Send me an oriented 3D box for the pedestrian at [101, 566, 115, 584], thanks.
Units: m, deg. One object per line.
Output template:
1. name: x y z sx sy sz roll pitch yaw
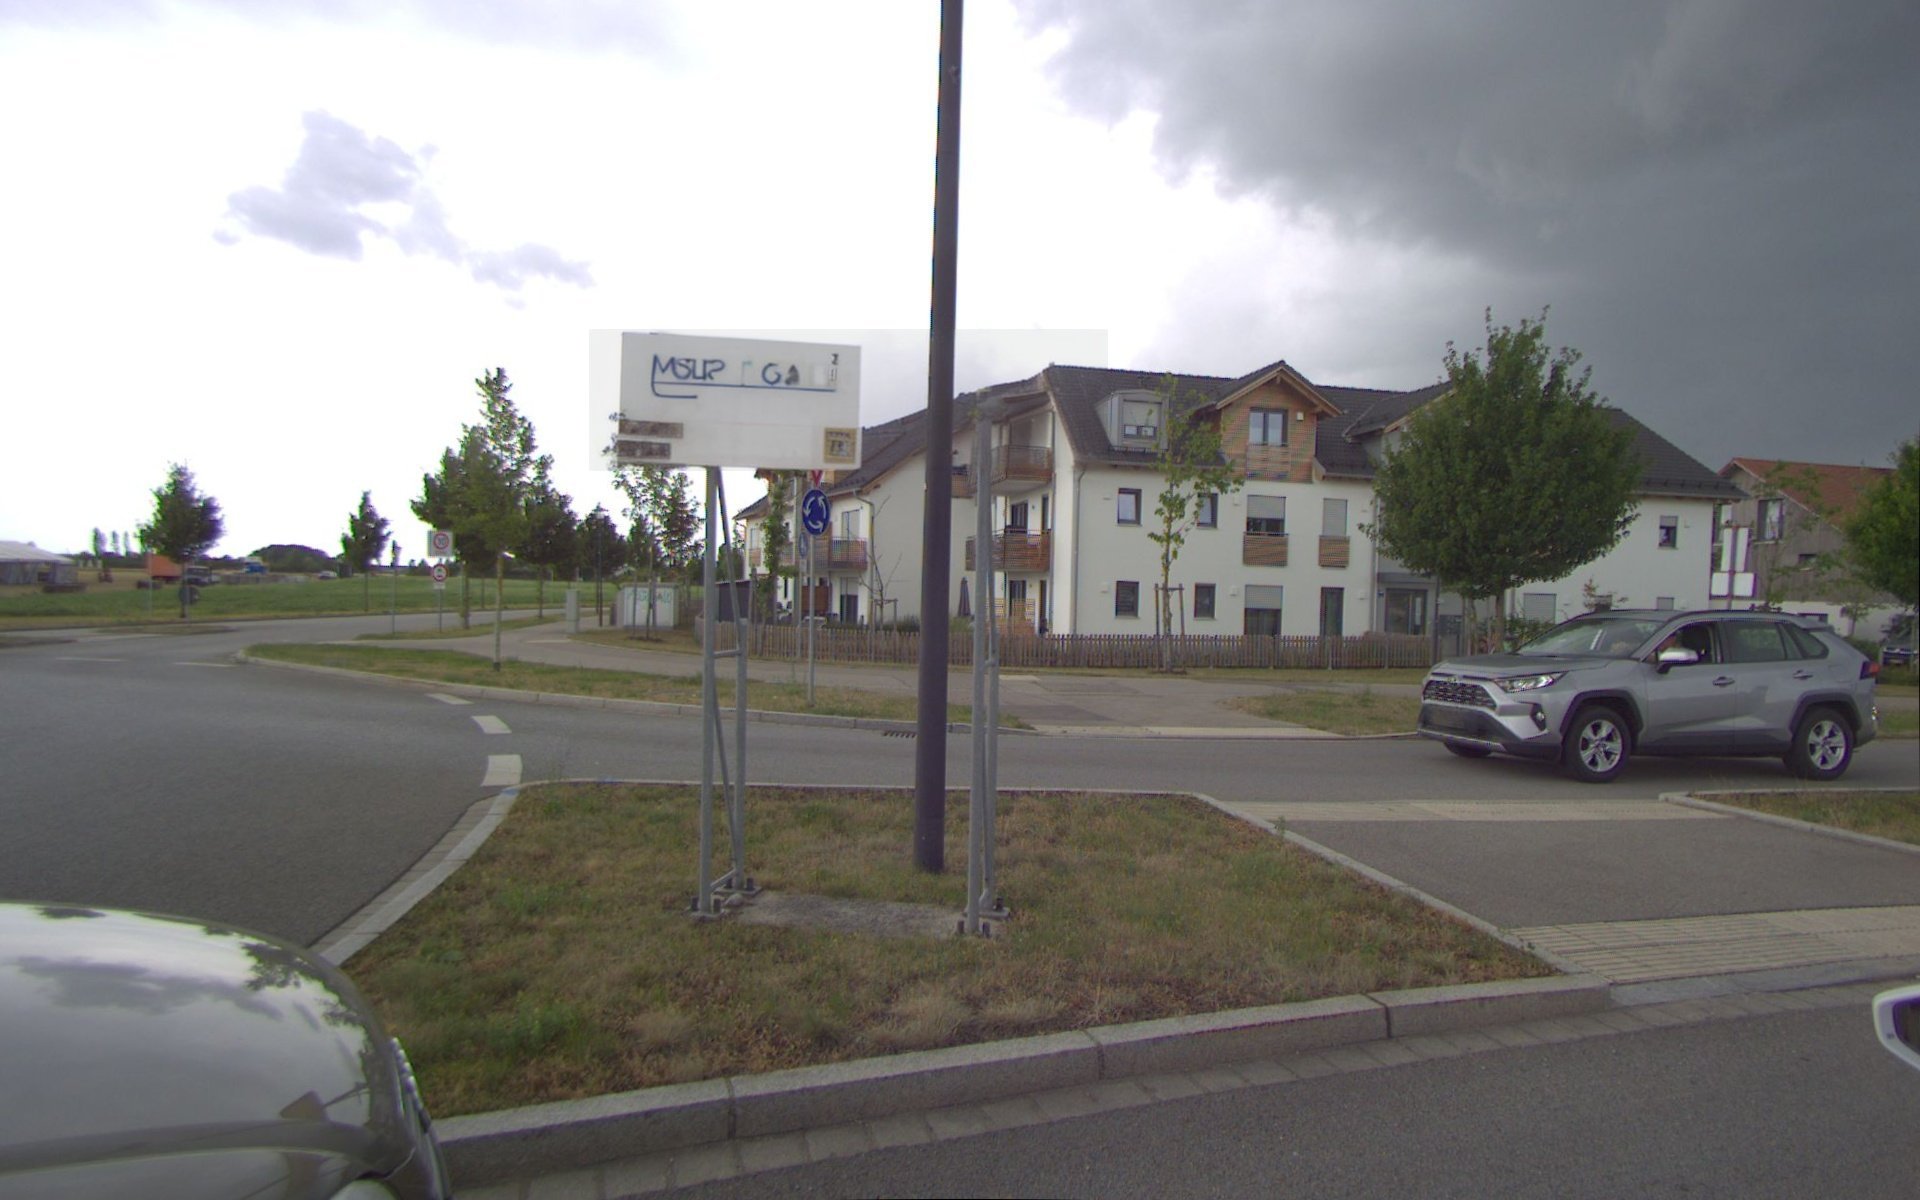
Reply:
1. pedestrian: -99.755 -2.935 117.623 1.040 2.041 1.051 1 1 -33

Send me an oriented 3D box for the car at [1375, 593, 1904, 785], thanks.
1. car: 6.977 0.865 10.496 4.555 1.726 1.995 2 0 -13

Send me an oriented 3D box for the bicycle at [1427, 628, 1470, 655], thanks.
1. bicycle: 16.485 1.401 33.905 1.314 0.854 0.367 2 3 -12

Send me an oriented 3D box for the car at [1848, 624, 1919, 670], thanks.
1. car: 41.119 2.051 43.213 4.384 1.795 1.997 2 1 -9

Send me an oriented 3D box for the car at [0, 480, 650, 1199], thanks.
1. car: -2.639 0.599 0.360 4.501 1.485 1.763 1 1 -39

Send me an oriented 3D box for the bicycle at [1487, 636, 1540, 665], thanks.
1. bicycle: 17.259 1.577 31.315 1.520 0.854 0.367 2 3 -12
